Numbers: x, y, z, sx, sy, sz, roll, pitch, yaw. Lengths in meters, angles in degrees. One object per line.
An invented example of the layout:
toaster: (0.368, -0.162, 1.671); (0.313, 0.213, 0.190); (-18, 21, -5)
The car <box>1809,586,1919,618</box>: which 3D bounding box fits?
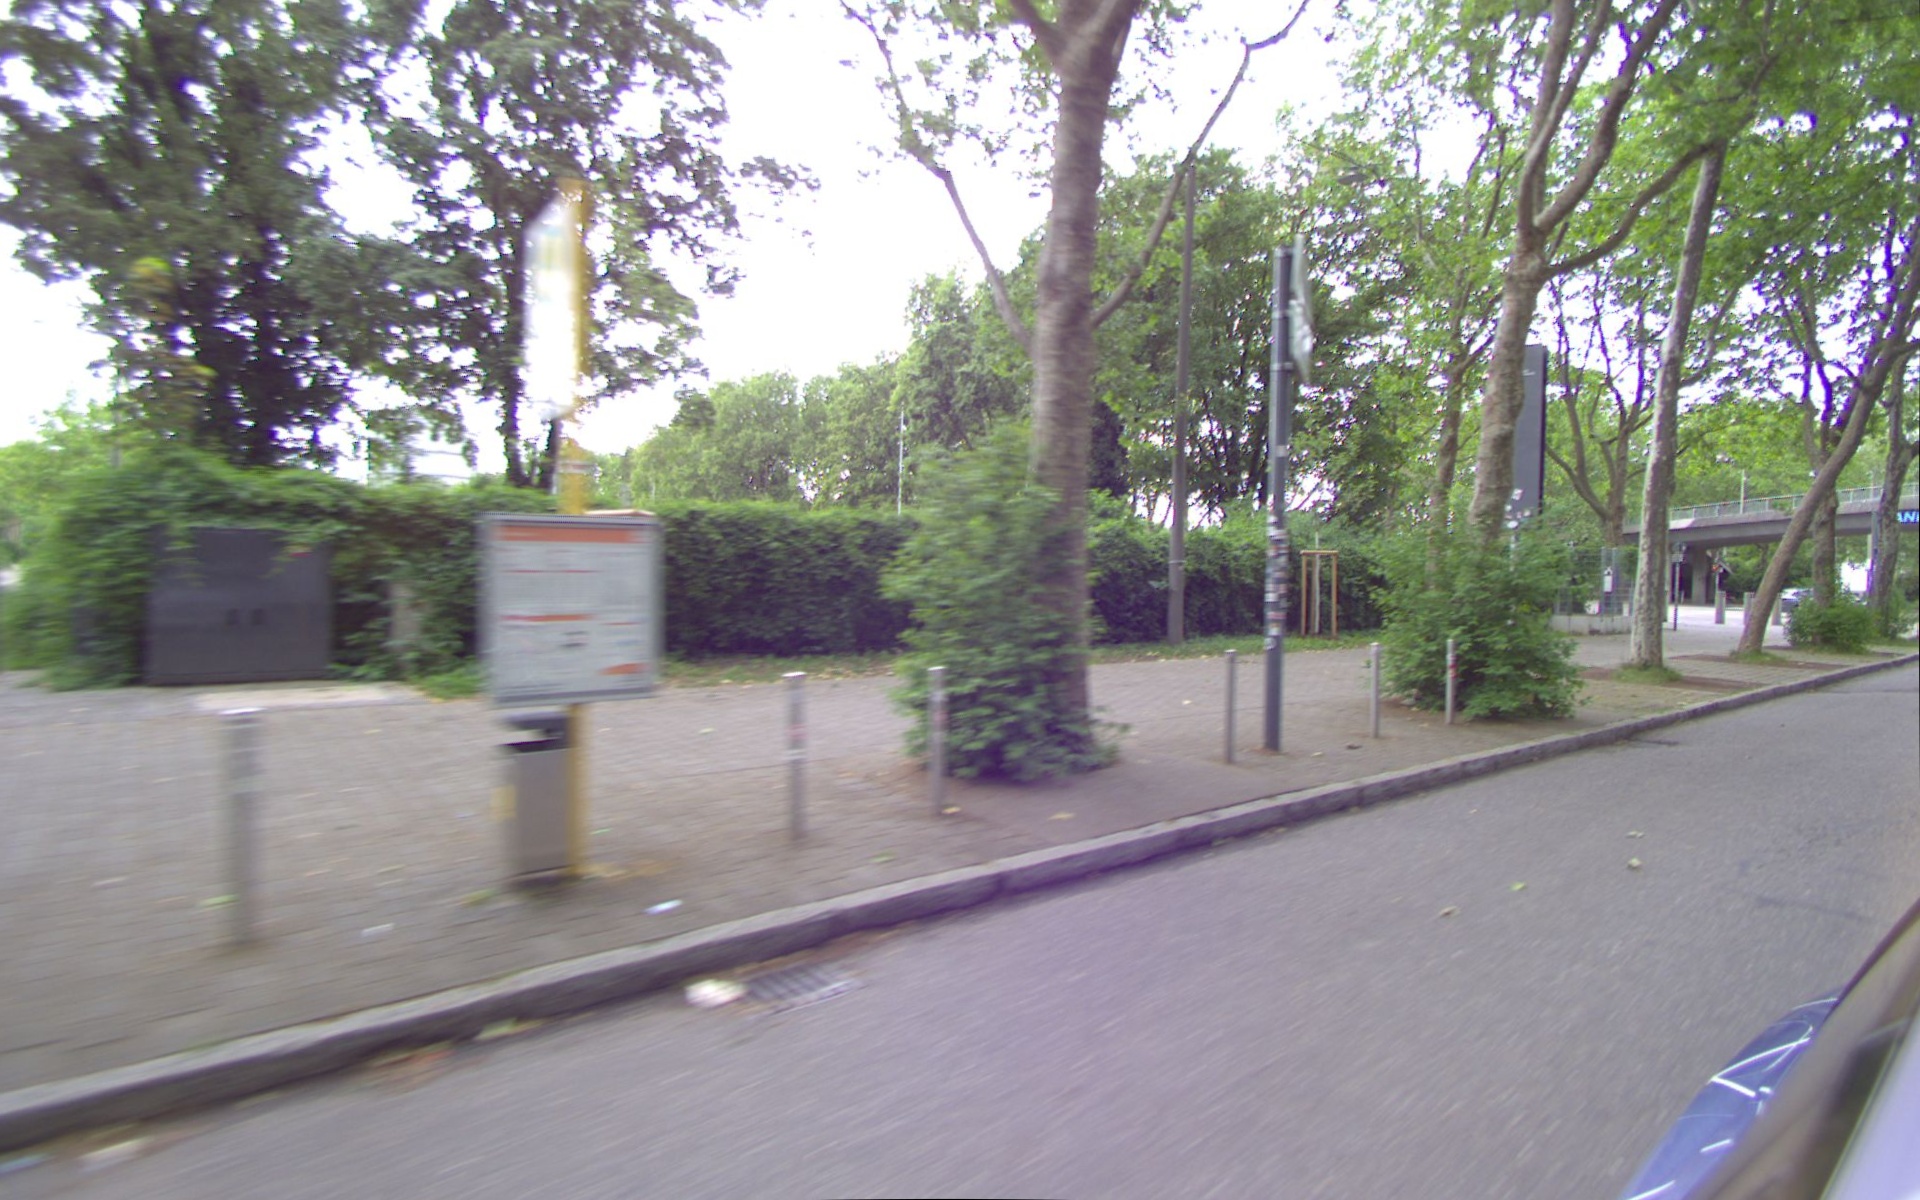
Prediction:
car: (44.739, 0.100, 49.475); (4.648, 1.464, 1.867); (1, 1, 31)
